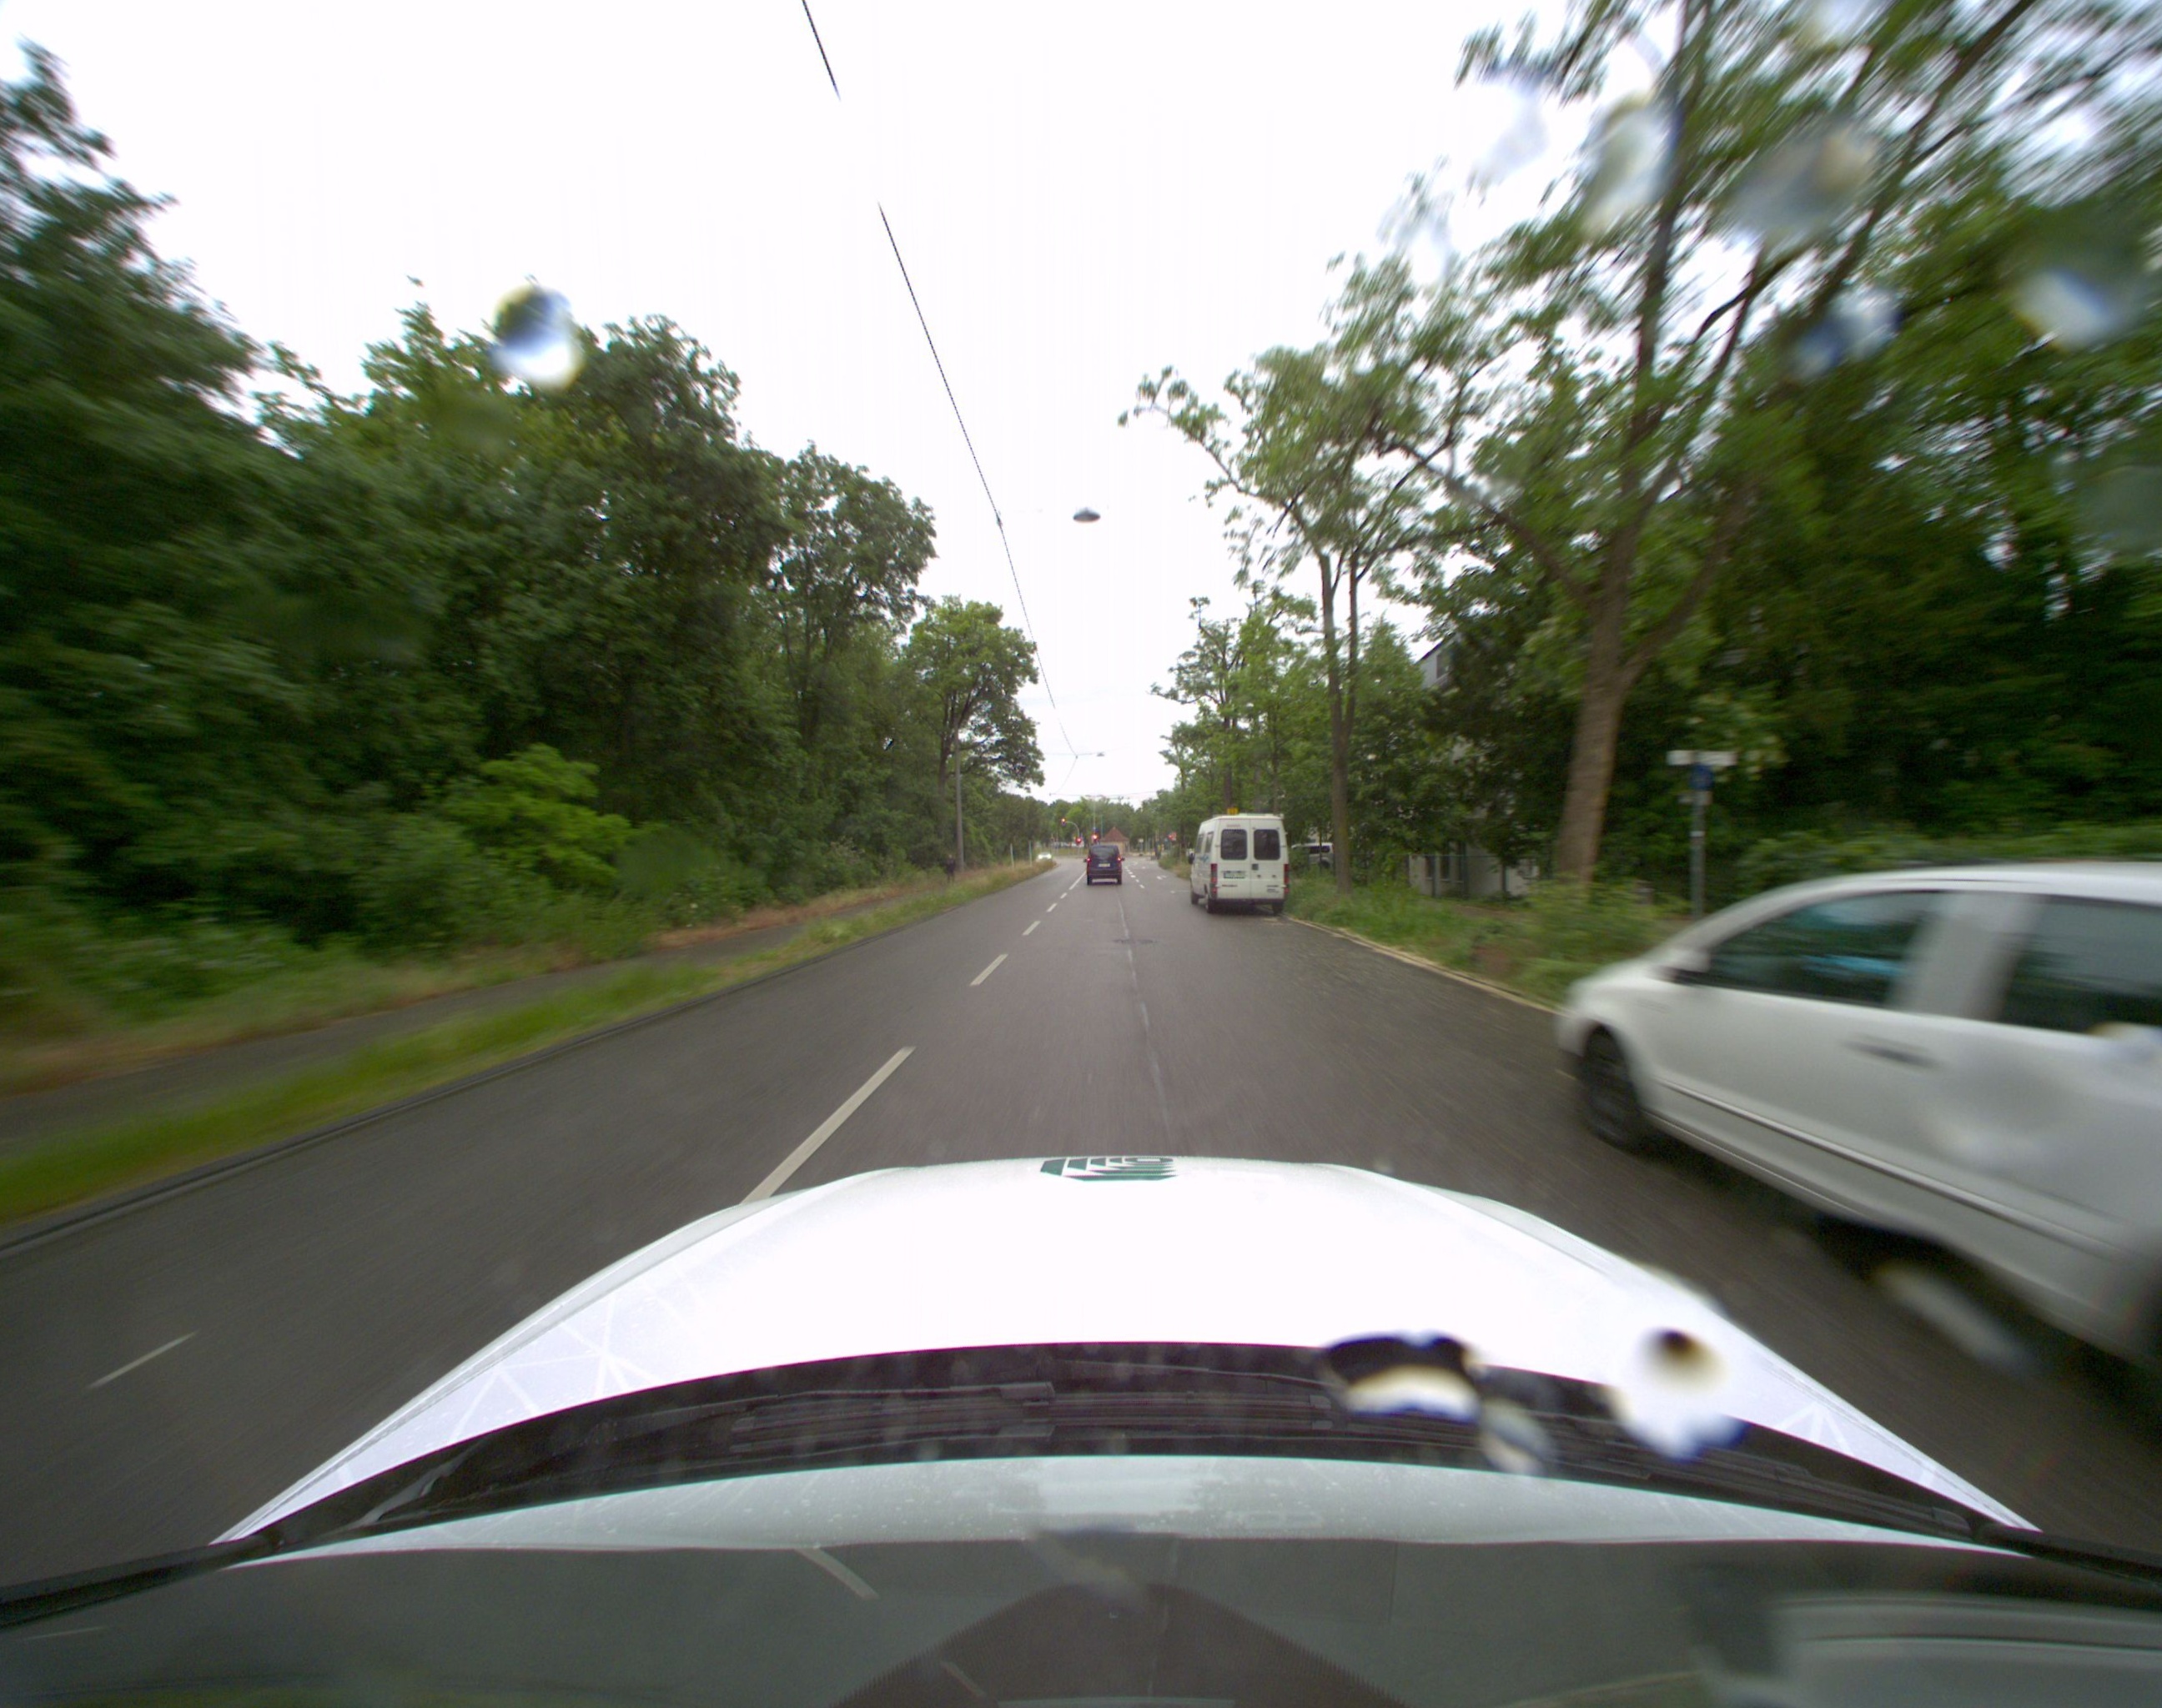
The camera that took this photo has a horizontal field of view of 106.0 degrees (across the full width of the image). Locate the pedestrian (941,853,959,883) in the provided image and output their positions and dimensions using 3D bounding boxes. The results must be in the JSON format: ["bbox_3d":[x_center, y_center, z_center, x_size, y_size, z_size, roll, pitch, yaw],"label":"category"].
[{"bbox_3d":[-7.216,0.766,44.866,0.778,1.607,0.732,-1,0,1],"label":"pedestrian"}]

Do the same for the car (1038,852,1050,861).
[{"bbox_3d":[-6.252,0.342,136.801,1.989,1.311,4.355,-3,1,-3],"label":"car"}]

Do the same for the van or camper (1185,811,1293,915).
[{"bbox_3d":[4.214,0.199,22.639,2.029,2.479,5.641,1,0,2],"label":"van or camper"}]

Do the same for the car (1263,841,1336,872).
[{"bbox_3d":[13.312,0.151,49.881,4.275,1.817,1.881,0,0,12],"label":"car"}]

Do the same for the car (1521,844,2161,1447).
[{"bbox_3d":[3.480,0.716,3.231,1.565,1.472,3.767,1,0,2],"label":"car"}]

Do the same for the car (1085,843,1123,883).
[{"bbox_3d":[1.101,0.381,38.613,1.725,1.786,4.002,0,0,2],"label":"car"}]
